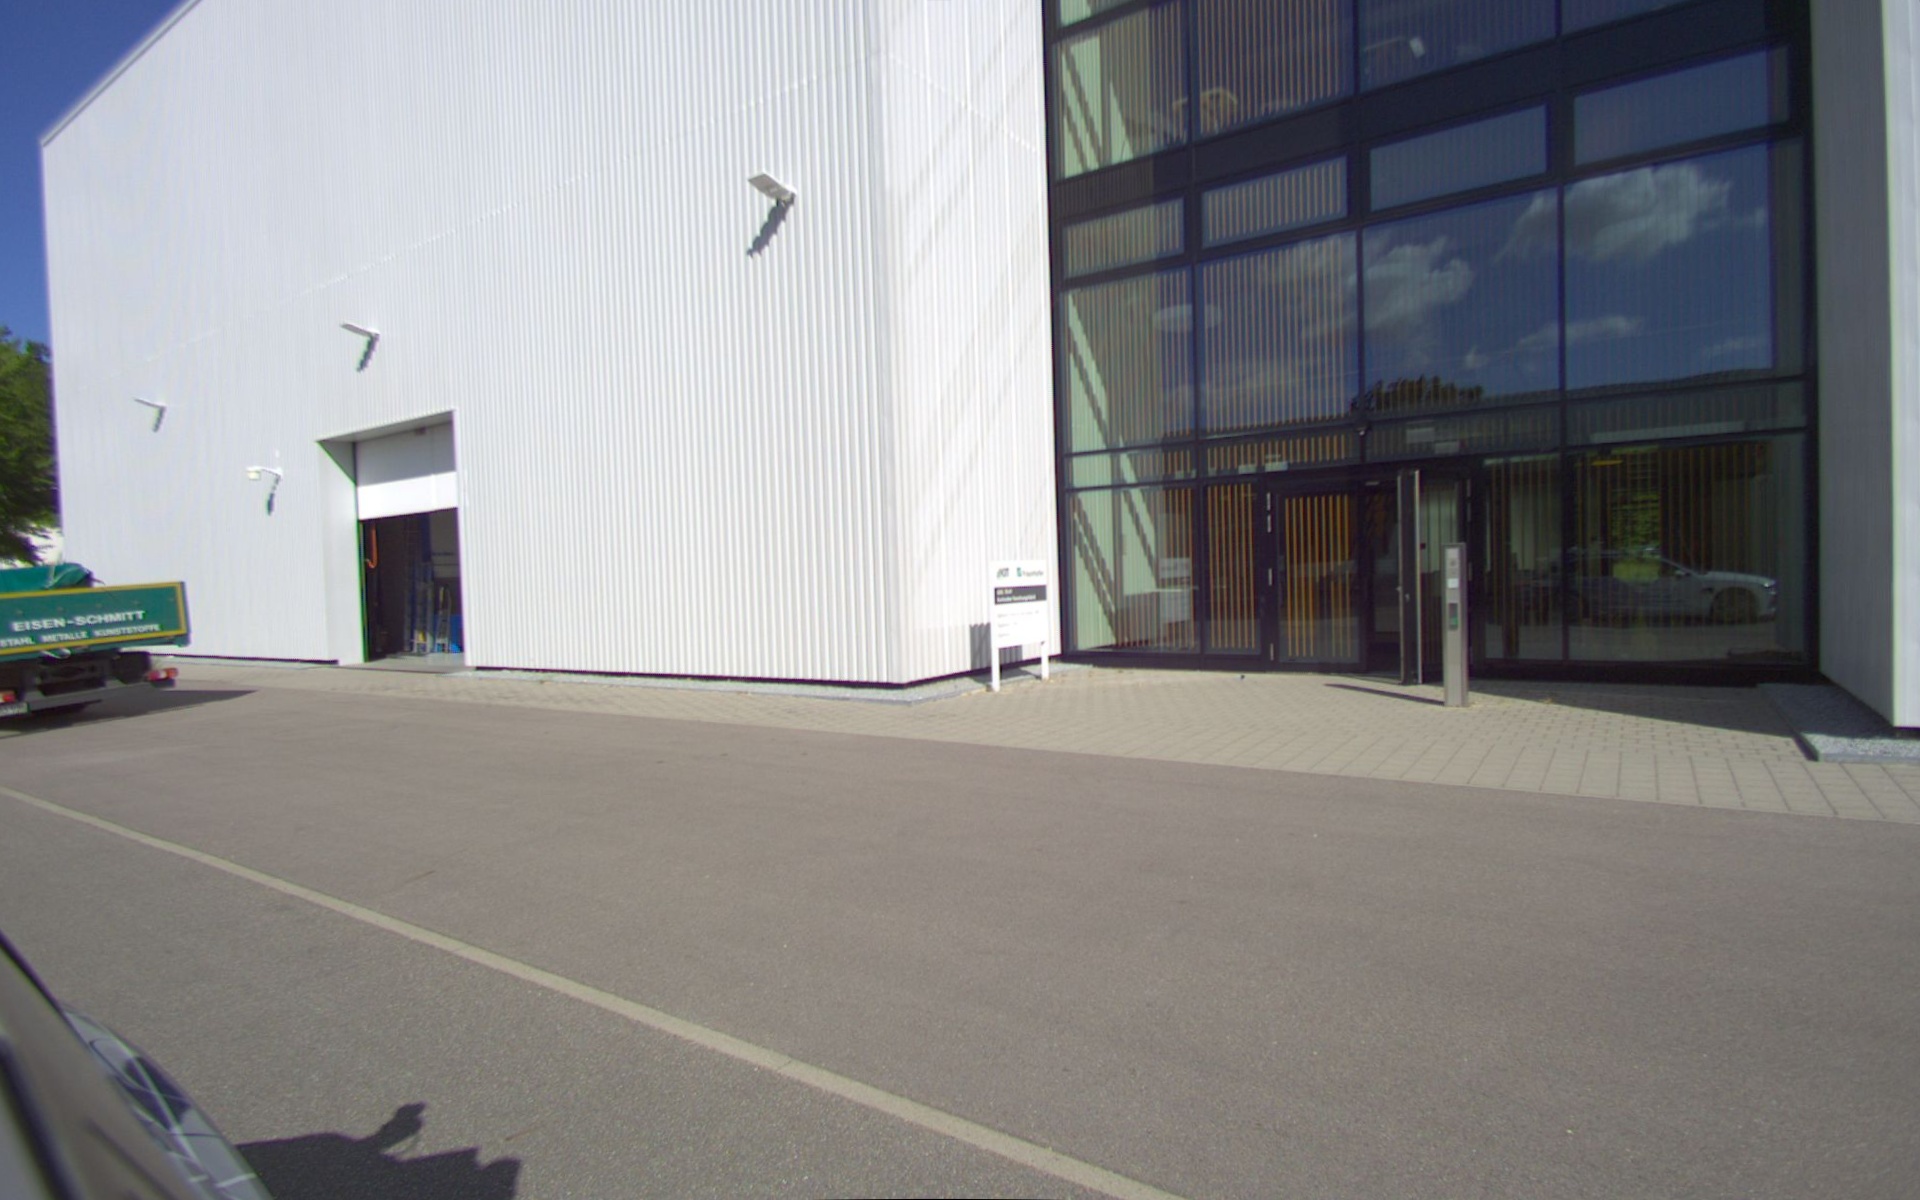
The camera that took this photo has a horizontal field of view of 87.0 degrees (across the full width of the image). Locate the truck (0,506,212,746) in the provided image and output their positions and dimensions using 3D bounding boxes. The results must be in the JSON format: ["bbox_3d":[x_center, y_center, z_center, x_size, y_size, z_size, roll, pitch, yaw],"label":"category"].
[{"bbox_3d":[-15.111,0.387,14.270,9.629,2.736,2.571,-2,3,22],"label":"truck"}]
